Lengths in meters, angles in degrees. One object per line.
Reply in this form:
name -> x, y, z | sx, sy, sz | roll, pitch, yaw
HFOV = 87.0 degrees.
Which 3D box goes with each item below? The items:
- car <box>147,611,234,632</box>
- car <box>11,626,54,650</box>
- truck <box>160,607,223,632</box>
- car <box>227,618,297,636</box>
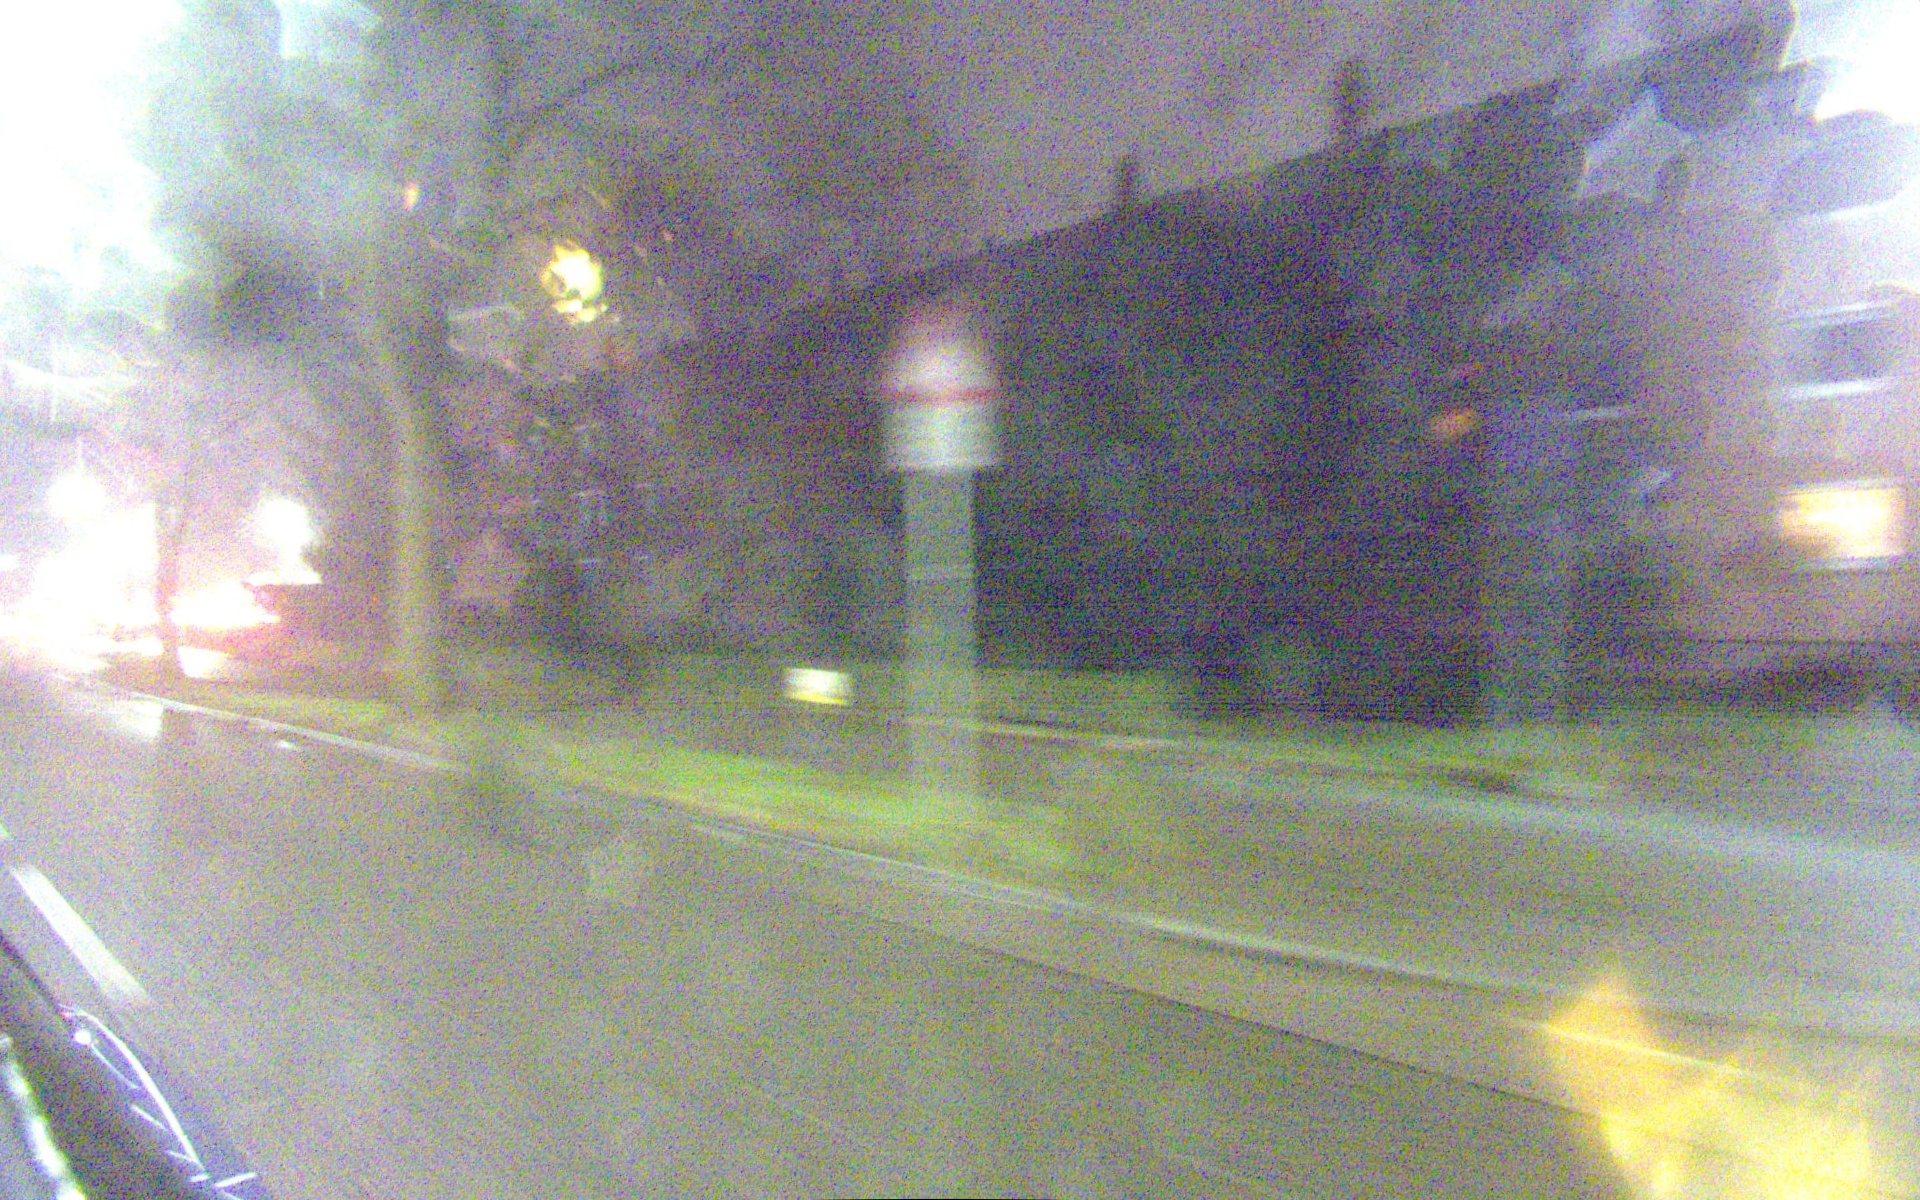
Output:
car -> -72.952, 2.010, 96.079 | 1.988, 1.829, 6.389 | 0, -1, 24
car -> -63.618, 2.579, 69.491 | 1.969, 1.466, 4.309 | 5, -4, -41
truck -> -77.152, 1.944, 101.817 | 2.283, 2.415, 7.835 | 0, -1, -15
car -> -65.077, 2.485, 94.449 | 1.998, 1.477, 5.032 | -1, 0, 39
